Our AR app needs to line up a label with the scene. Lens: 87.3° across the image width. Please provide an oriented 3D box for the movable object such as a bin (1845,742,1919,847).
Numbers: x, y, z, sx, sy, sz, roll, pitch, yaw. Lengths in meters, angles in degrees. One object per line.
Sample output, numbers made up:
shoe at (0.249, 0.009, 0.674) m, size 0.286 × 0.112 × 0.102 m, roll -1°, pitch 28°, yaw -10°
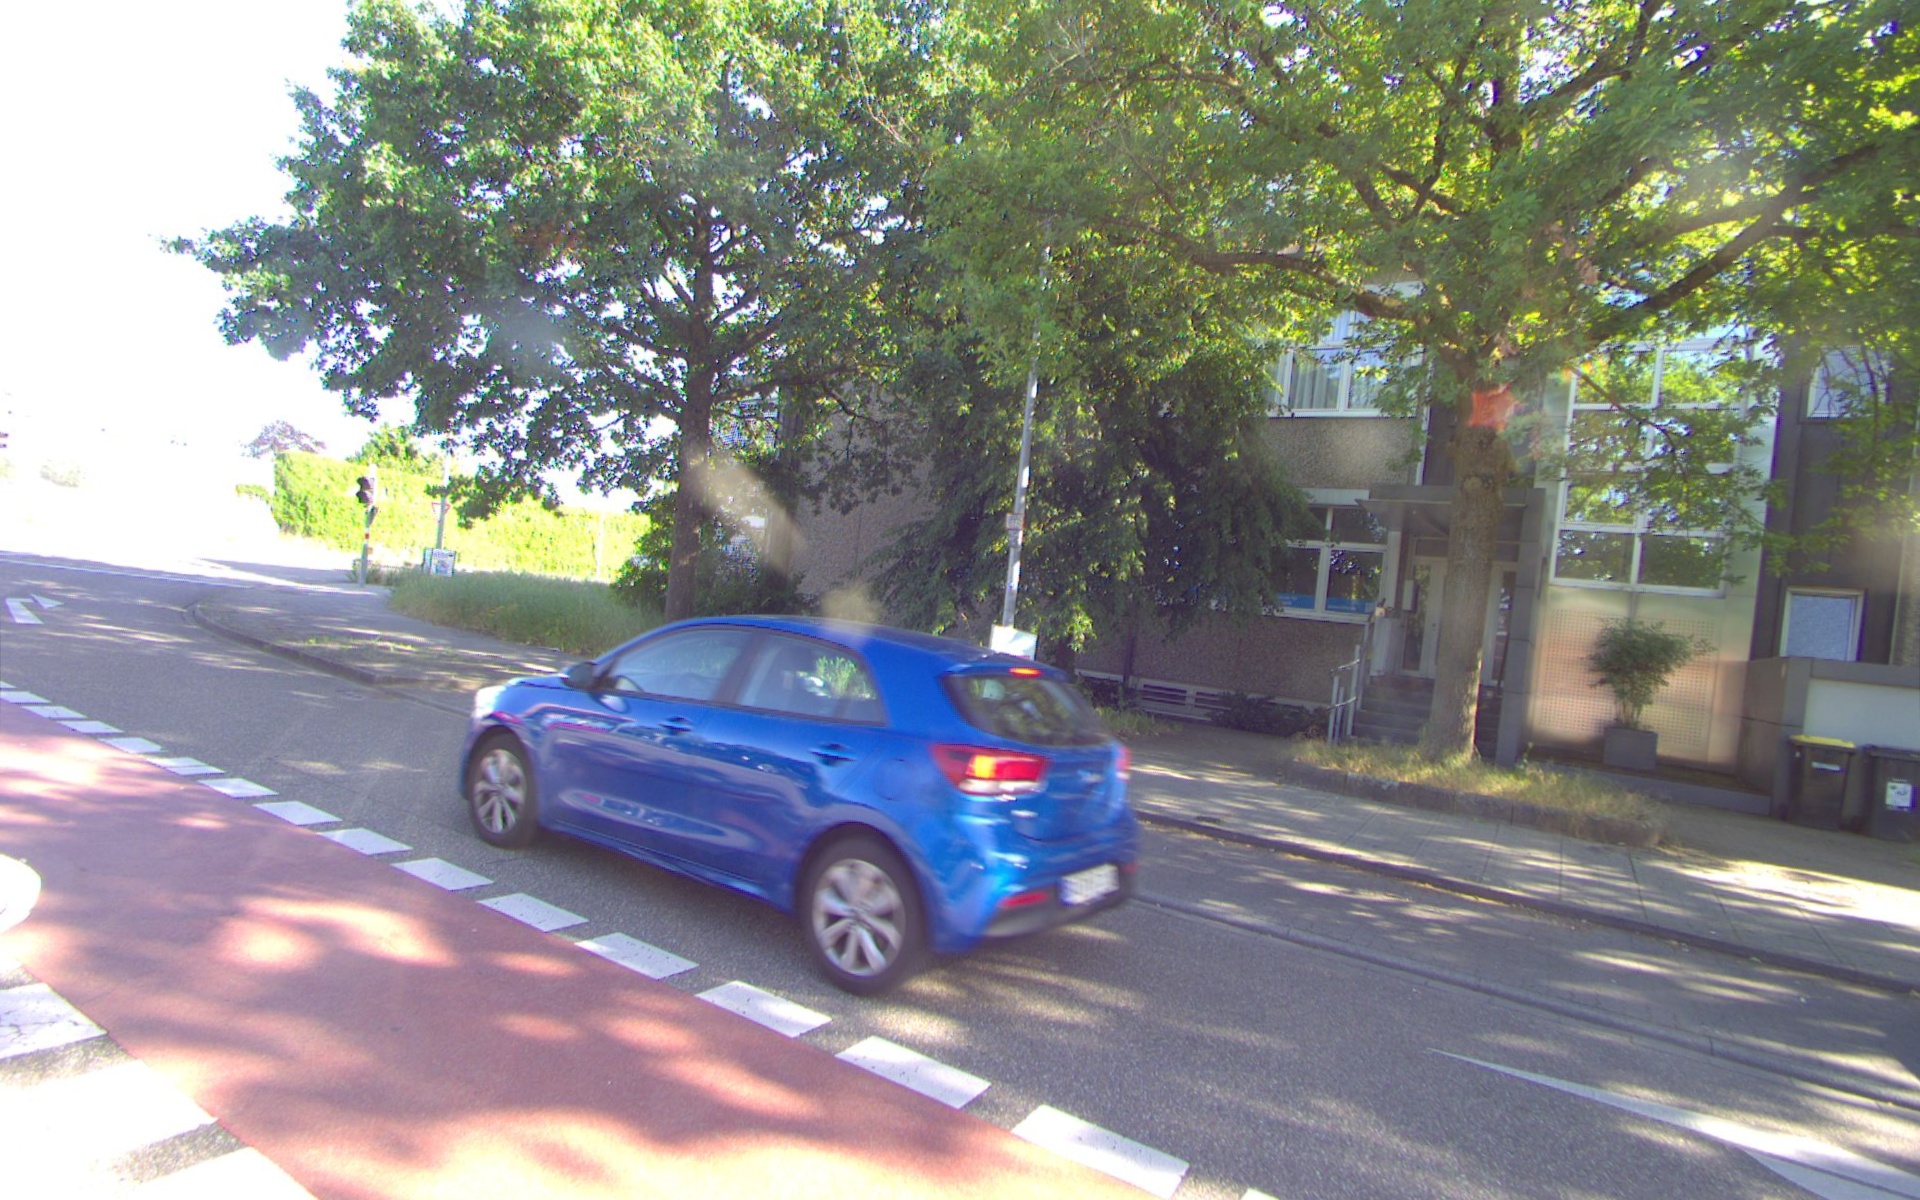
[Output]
movable object such as a bin at (10.817, 2.243, 11.681) m, size 0.605 × 1.075 × 0.634 m, roll 6°, pitch 0°, yaw 30°

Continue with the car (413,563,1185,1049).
car at (-1.013, 0.781, 5.396) m, size 3.877 × 1.486 × 1.651 m, roll 6°, pitch -1°, yaw 34°

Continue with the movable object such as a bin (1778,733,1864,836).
movable object such as a bin at (10.228, 2.177, 11.974) m, size 0.575 × 1.070 × 0.625 m, roll 7°, pitch 0°, yaw 30°
